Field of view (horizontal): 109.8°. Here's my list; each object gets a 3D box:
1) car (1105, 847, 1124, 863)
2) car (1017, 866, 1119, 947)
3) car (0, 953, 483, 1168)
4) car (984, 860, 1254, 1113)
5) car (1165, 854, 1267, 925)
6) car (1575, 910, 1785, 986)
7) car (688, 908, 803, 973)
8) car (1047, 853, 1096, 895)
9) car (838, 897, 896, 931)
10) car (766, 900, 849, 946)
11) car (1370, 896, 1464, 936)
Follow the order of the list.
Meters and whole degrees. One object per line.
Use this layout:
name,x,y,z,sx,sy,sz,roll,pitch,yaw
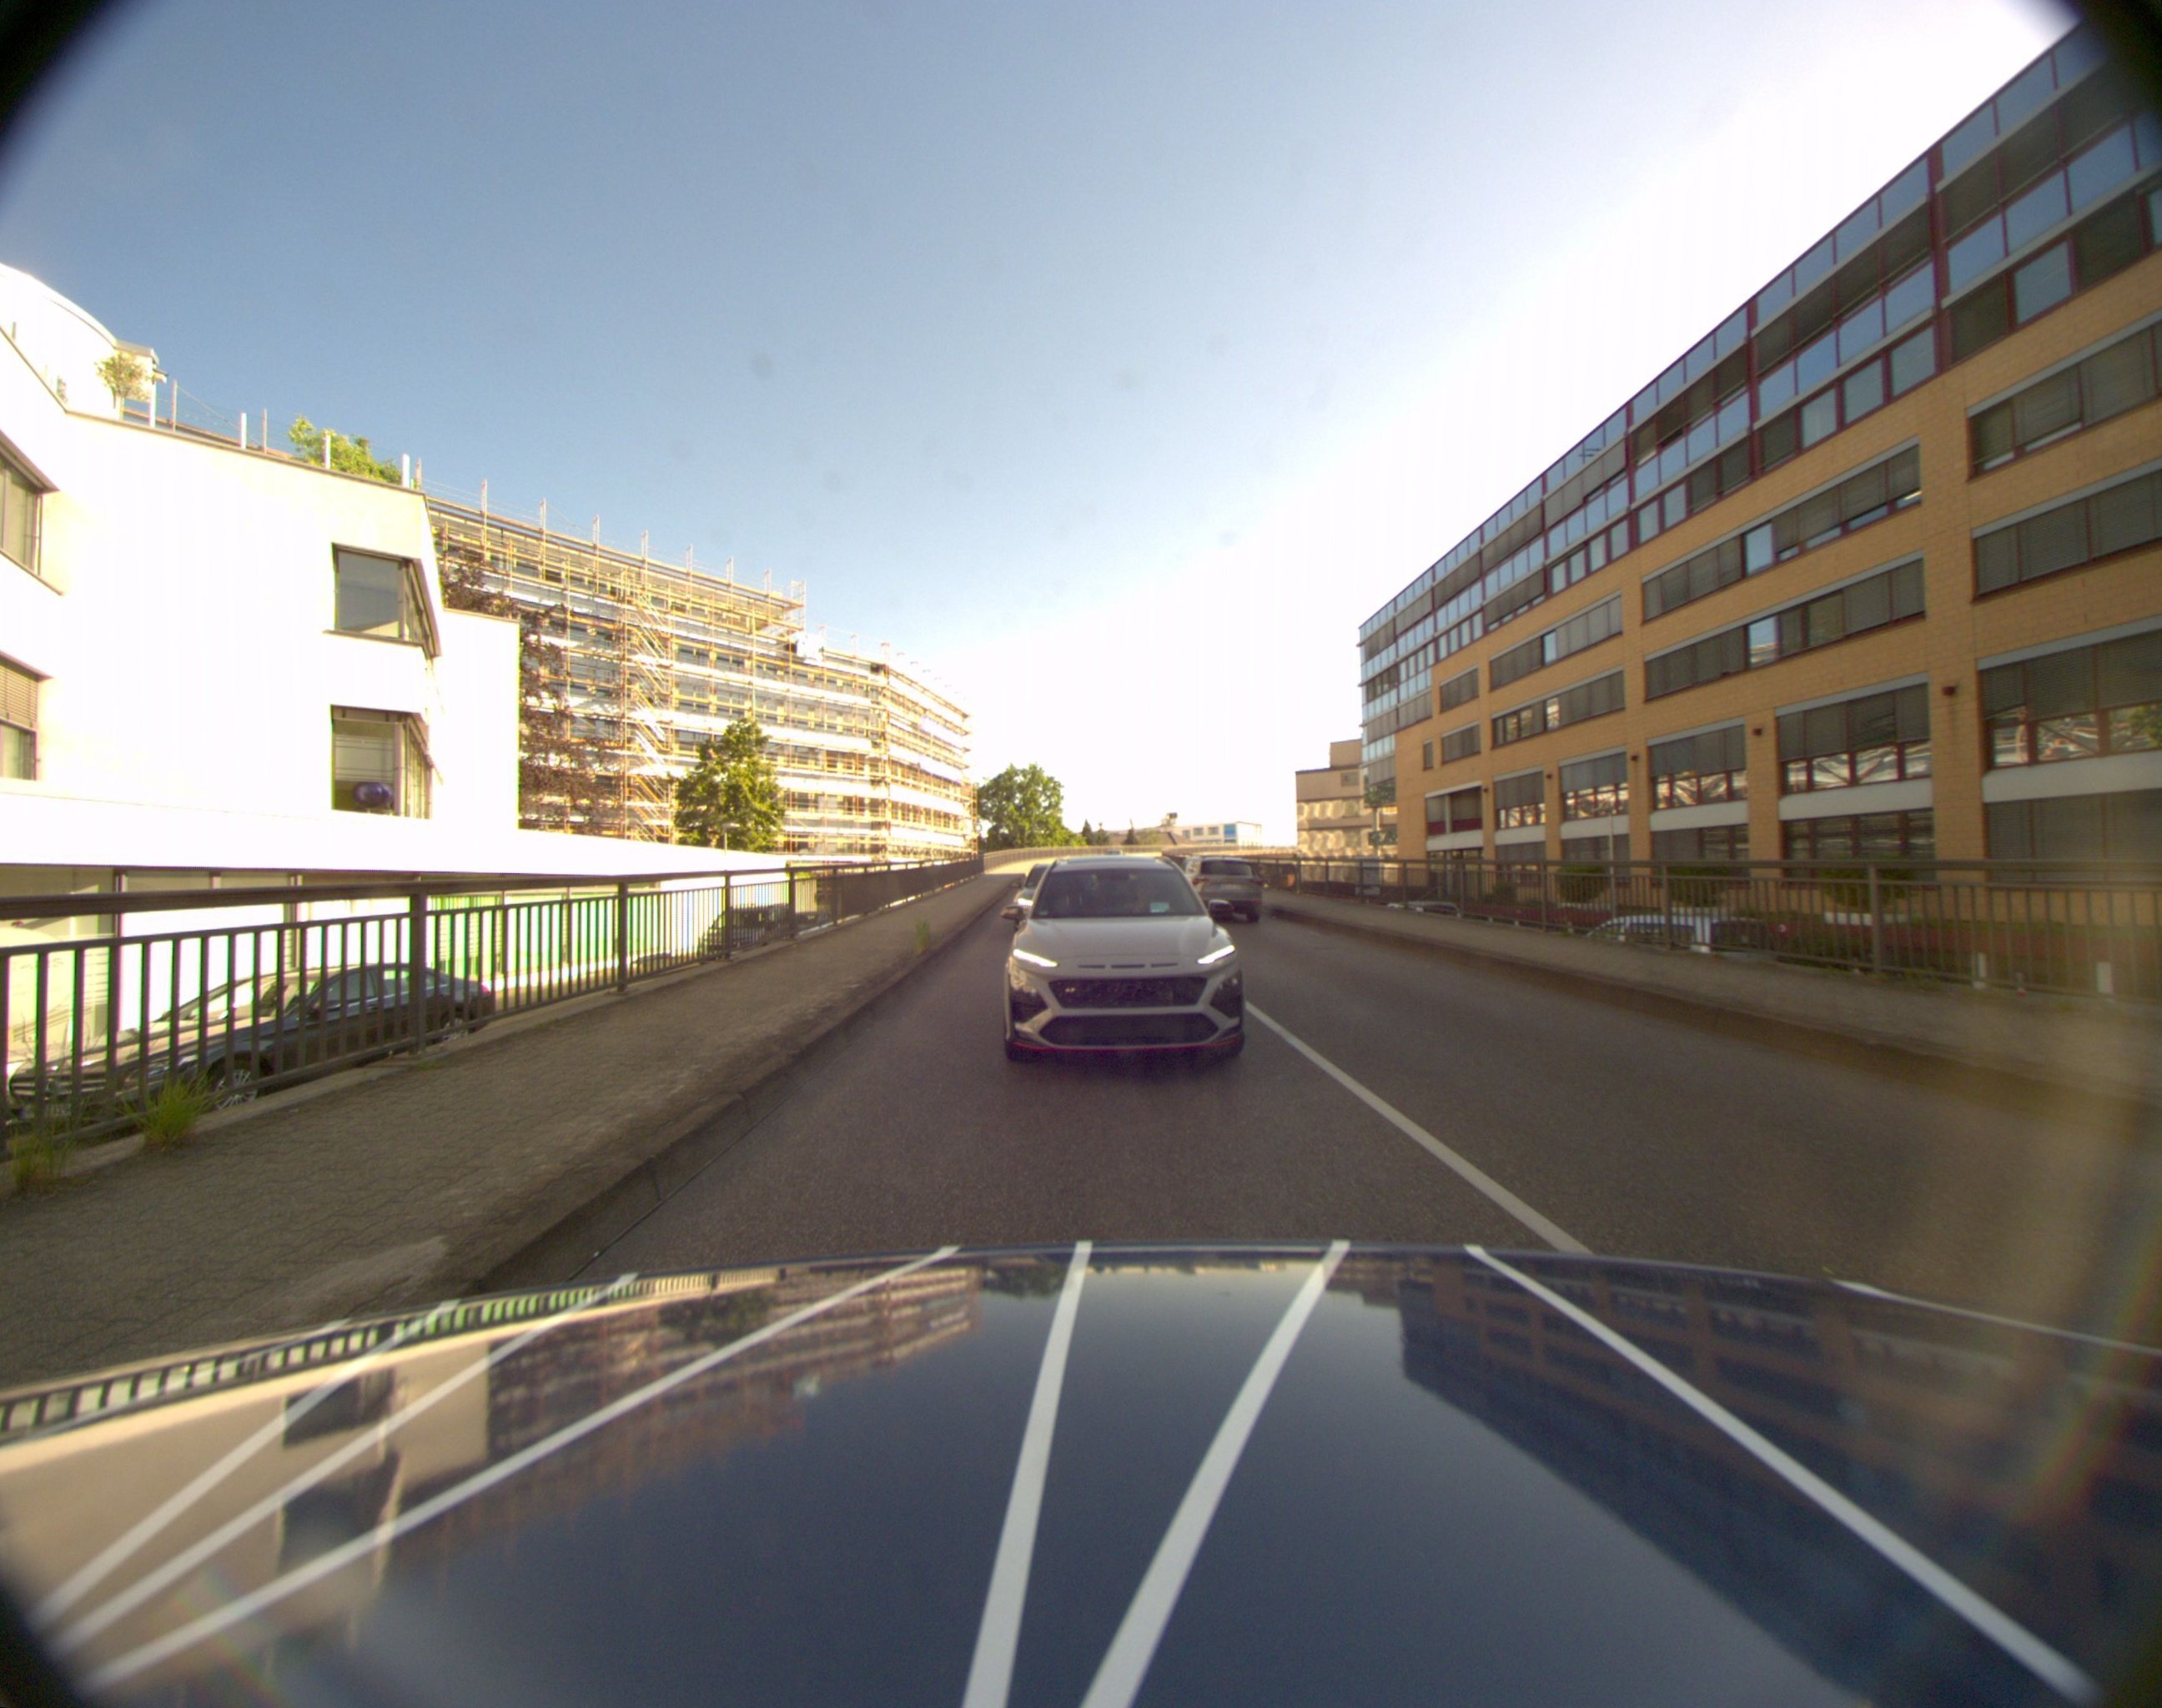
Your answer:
car,3.115,0.083,70.085,1.745,1.399,4.202,0,0,3
car,-0.307,1.018,16.334,1.902,1.433,4.126,0,0,-2
car,-9.632,2.195,9.089,1.726,1.513,4.001,-2,-1,0
car,0.261,0.895,6.944,1.749,1.637,4.001,0,-1,0
car,3.328,0.823,19.498,1.809,1.614,3.999,1,0,-2
car,12.958,1.985,16.763,1.580,1.261,3.809,0,-1,-1
car,-10.047,2.546,23.096,1.726,1.513,4.000,-2,-1,-1
car,-0.430,0.809,32.904,1.952,1.456,3.998,3,2,-1
car,-10.457,2.895,37.341,1.726,1.383,4.000,-2,-1,-1
car,-10.271,2.572,28.883,1.726,1.383,4.000,-2,-1,-1
car,12.563,2.280,28.666,1.766,1.261,3.809,0,-1,-1
